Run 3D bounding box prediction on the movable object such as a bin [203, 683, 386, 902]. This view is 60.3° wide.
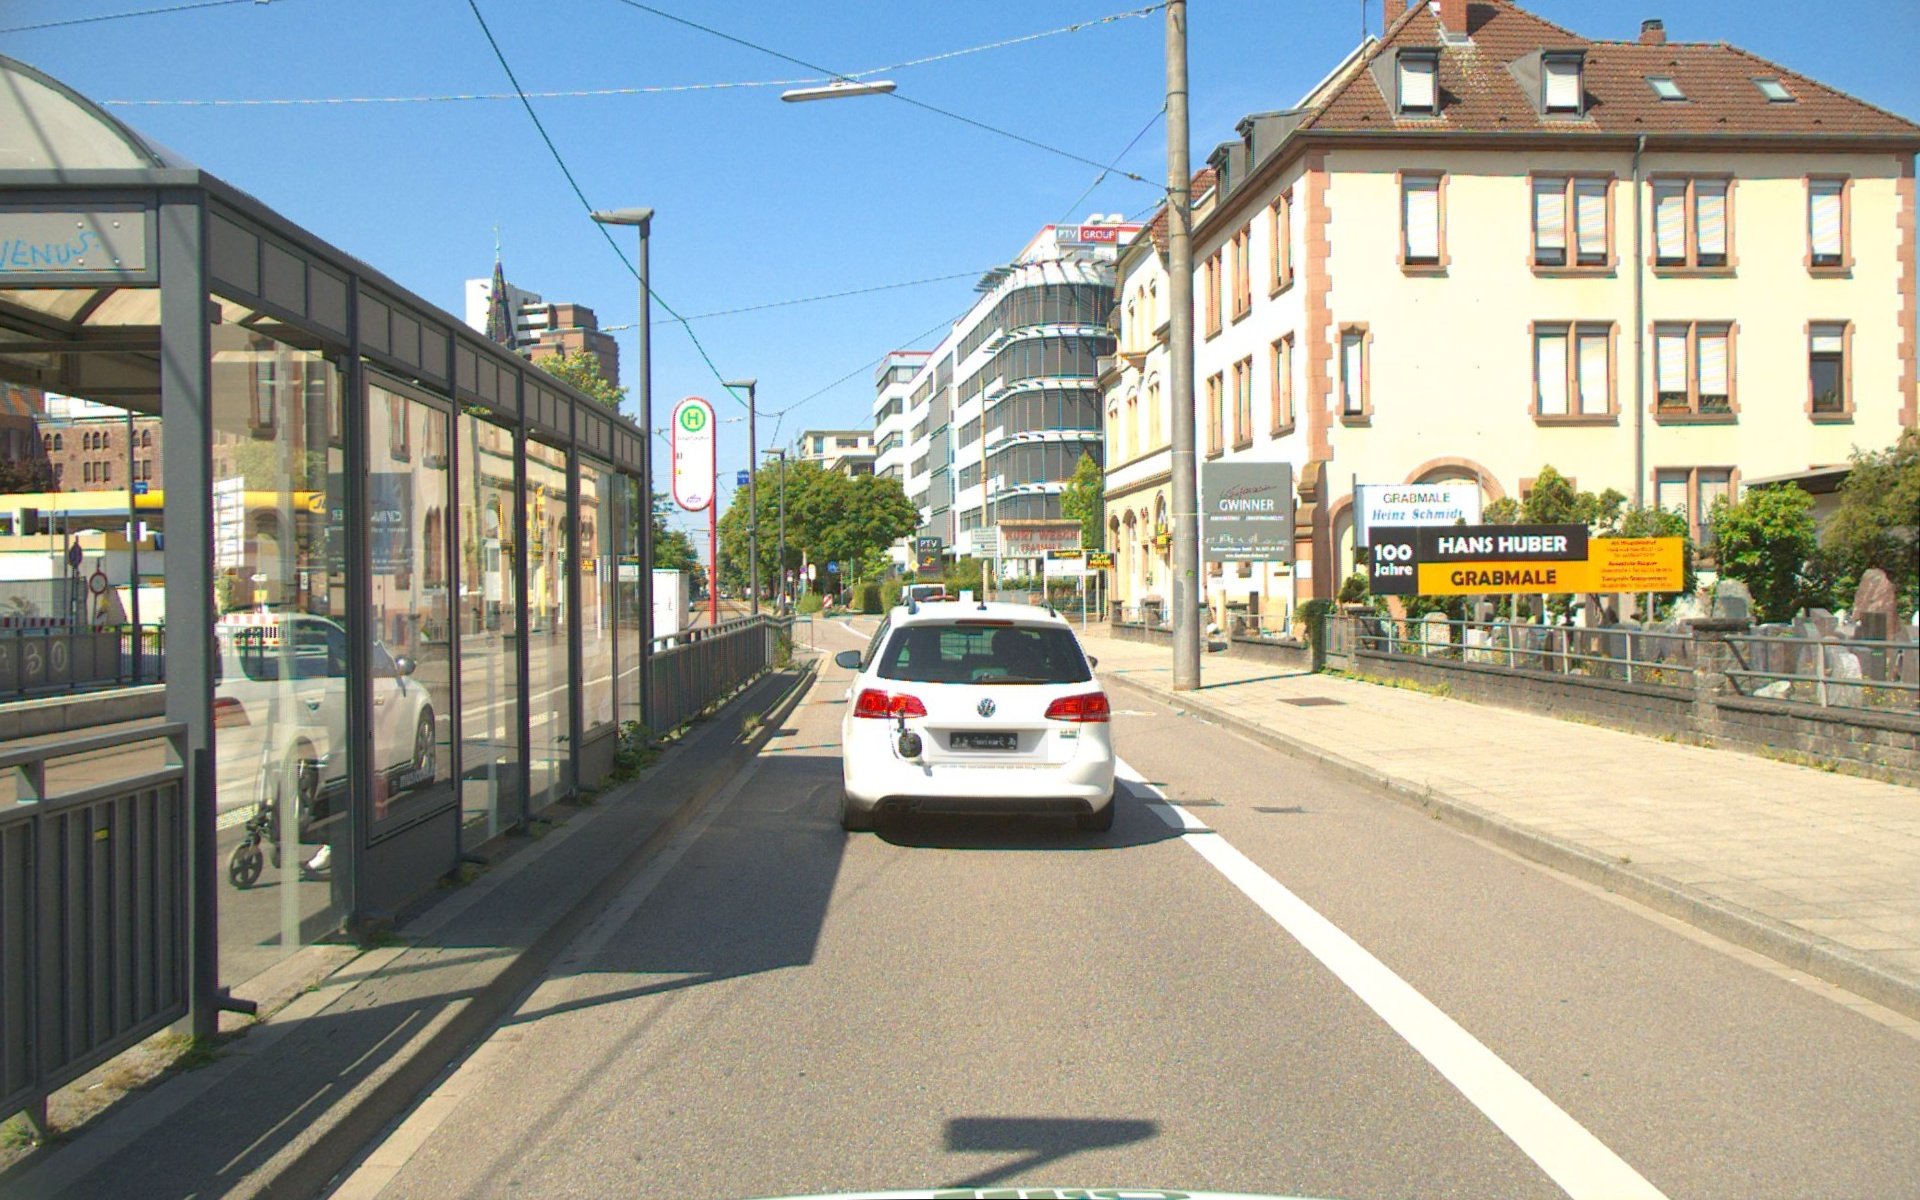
[{"bbox_3d":[-3.006,0.857,7.505,0.616,0.916,0.489,-1,0,-2],"label":"movable object such as a bin"}]

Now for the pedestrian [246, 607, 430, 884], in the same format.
[{"bbox_3d":[-3.028,0.682,8.101,0.616,1.277,0.709,-1,0,-2],"label":"pedestrian"}]

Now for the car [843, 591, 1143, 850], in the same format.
[{"bbox_3d":[0.061,0.682,11.697,1.719,1.467,4.409,1,0,-4],"label":"car"}]

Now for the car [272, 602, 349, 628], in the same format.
[{"bbox_3d":[-39.813,0.899,101.358,4.070,1.554,1.938,0,-1,17],"label":"car"}]

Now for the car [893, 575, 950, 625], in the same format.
[{"bbox_3d":[-1.795,-0.011,74.891,1.940,2.090,5.181,-3,0,-8],"label":"car"}]

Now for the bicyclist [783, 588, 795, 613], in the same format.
[{"bbox_3d":[-11.895,0.030,114.805,0.771,1.658,0.737,2,-1,-8],"label":"bicyclist"}]

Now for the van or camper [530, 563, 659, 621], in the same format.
[{"bbox_3d":[-20.776,-0.447,94.080,6.549,3.019,2.618,2,-1,15],"label":"van or camper"}]

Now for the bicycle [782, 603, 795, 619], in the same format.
[{"bbox_3d":[-11.907,0.777,114.876,0.795,1.097,2.008,0,0,-8],"label":"bicycle"}]

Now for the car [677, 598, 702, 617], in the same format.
[{"bbox_3d":[-23.638,0.692,144.758,1.711,1.598,3.889,-2,0,-3],"label":"car"}]

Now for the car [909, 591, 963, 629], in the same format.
[{"bbox_3d":[-1.039,0.401,68.716,1.690,1.468,4.304,-3,0,-8],"label":"car"}]
